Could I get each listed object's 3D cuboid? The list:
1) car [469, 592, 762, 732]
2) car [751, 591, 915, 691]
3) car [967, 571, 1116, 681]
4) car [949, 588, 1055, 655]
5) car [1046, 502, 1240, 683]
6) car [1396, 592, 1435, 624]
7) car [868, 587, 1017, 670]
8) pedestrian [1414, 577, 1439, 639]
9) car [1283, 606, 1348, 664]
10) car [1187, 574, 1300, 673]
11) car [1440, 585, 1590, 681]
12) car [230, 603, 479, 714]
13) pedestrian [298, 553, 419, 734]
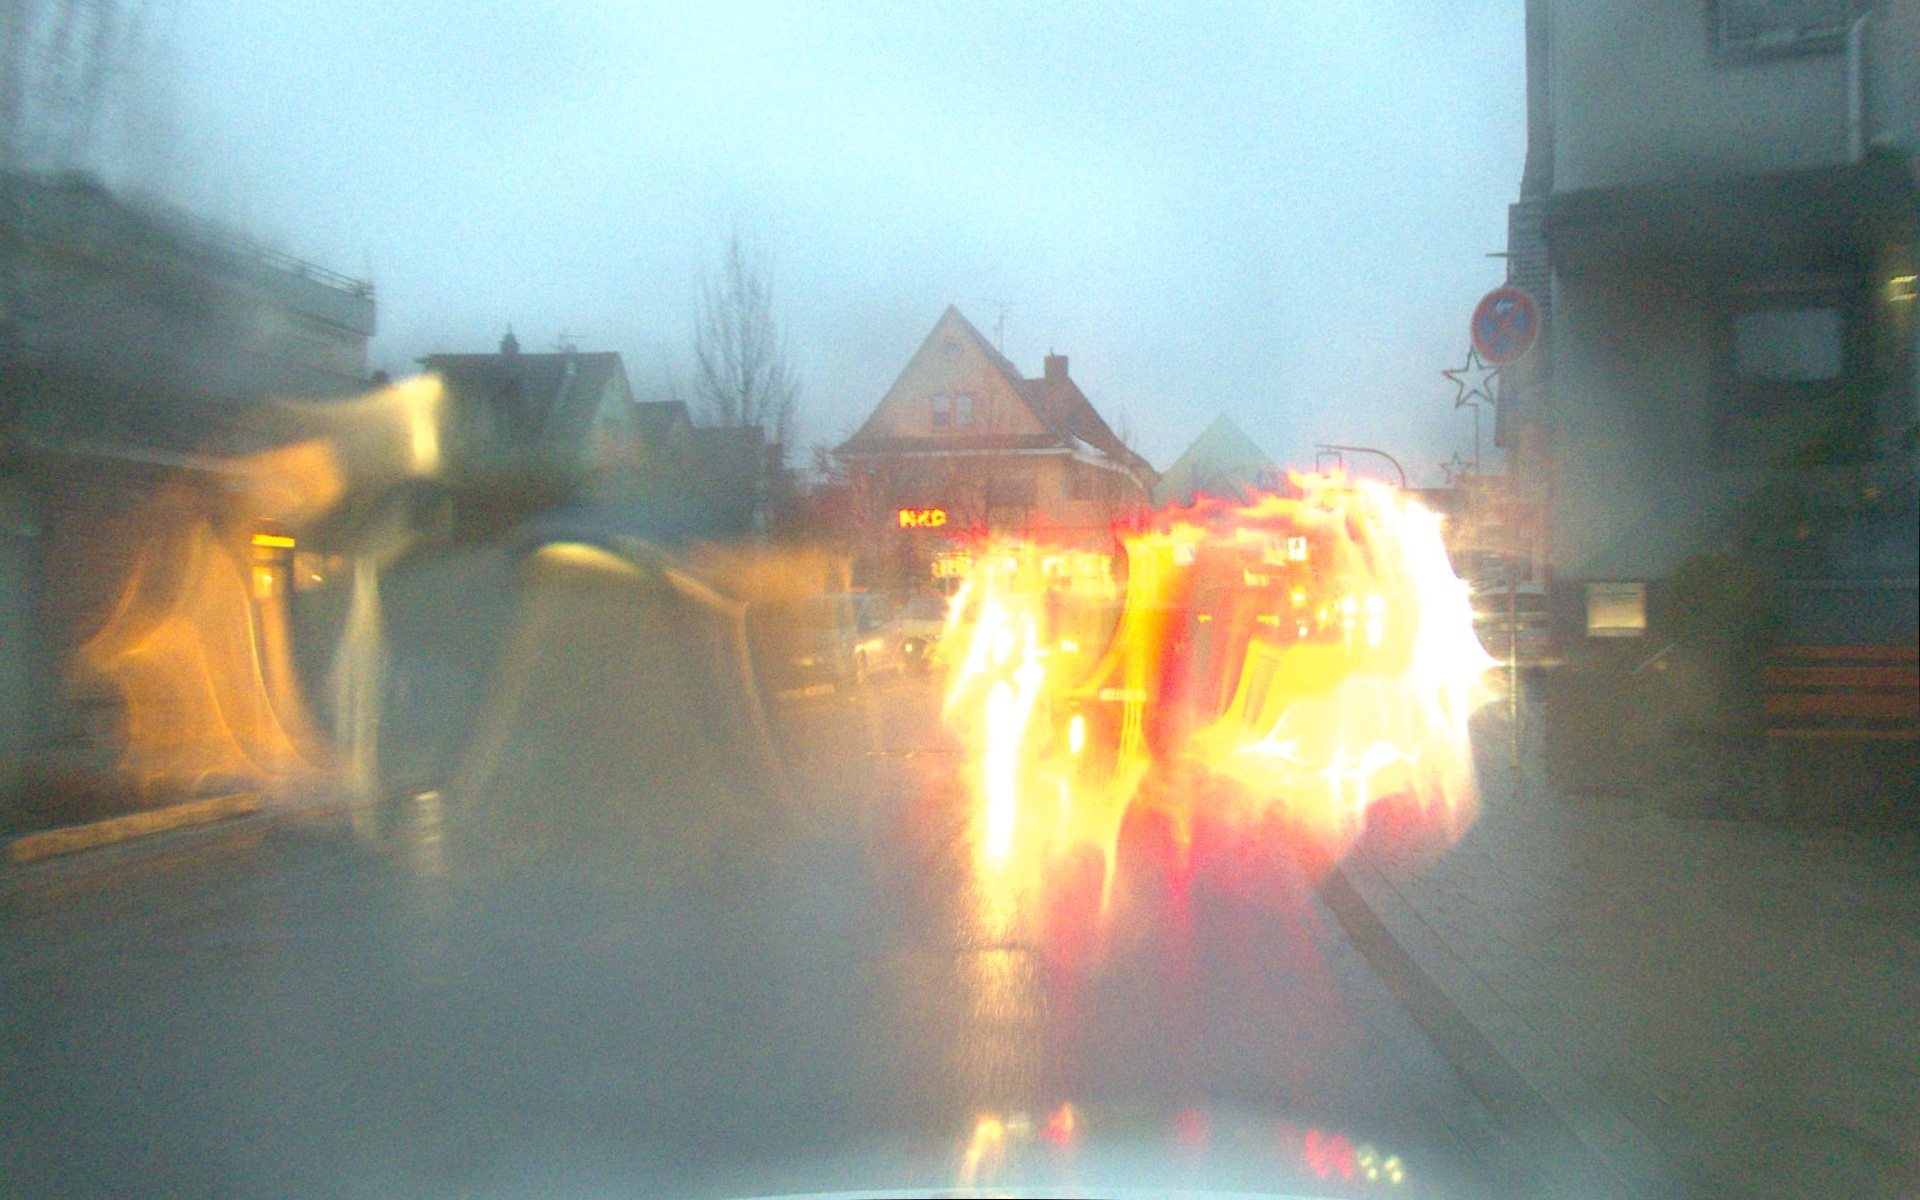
[{"bbox_3d":[-4.084,0.671,20.439,1.710,1.498,4.462,1,0,15],"label":"car"},{"bbox_3d":[-2.079,0.644,28.158,1.656,1.543,3.776,1,0,14],"label":"car"},{"bbox_3d":[1.631,0.433,31.207,2.095,1.893,4.747,0,0,12],"label":"car"},{"bbox_3d":[1.105,0.514,41.637,1.635,1.543,4.002,2,0,17],"label":"car"},{"bbox_3d":[2.242,-0.098,19.161,1.951,1.827,4.652,0,1,10],"label":"car"},{"bbox_3d":[21.414,0.358,77.737,1.502,1.267,3.649,-5,0,18],"label":"car"},{"bbox_3d":[-0.273,0.544,33.715,1.712,1.543,4.344,2,0,18],"label":"car"},{"bbox_3d":[14.618,0.249,51.824,0.650,1.921,0.824,1,-1,24],"label":"pedestrian"},{"bbox_3d":[9.527,0.907,44.181,1.614,1.467,3.869,0,0,13],"label":"car"},{"bbox_3d":[5.304,0.413,30.547,1.759,1.691,4.003,1,0,14],"label":"car"},{"bbox_3d":[9.622,0.521,28.461,1.846,1.492,4.538,-2,0,26],"label":"car"},{"bbox_3d":[-9.088,0.843,24.680,4.012,1.503,1.731,-2,0,40],"label":"car"},{"bbox_3d":[-6.504,0.455,17.917,0.738,1.899,1.061,0,0,17],"label":"pedestrian"}]
